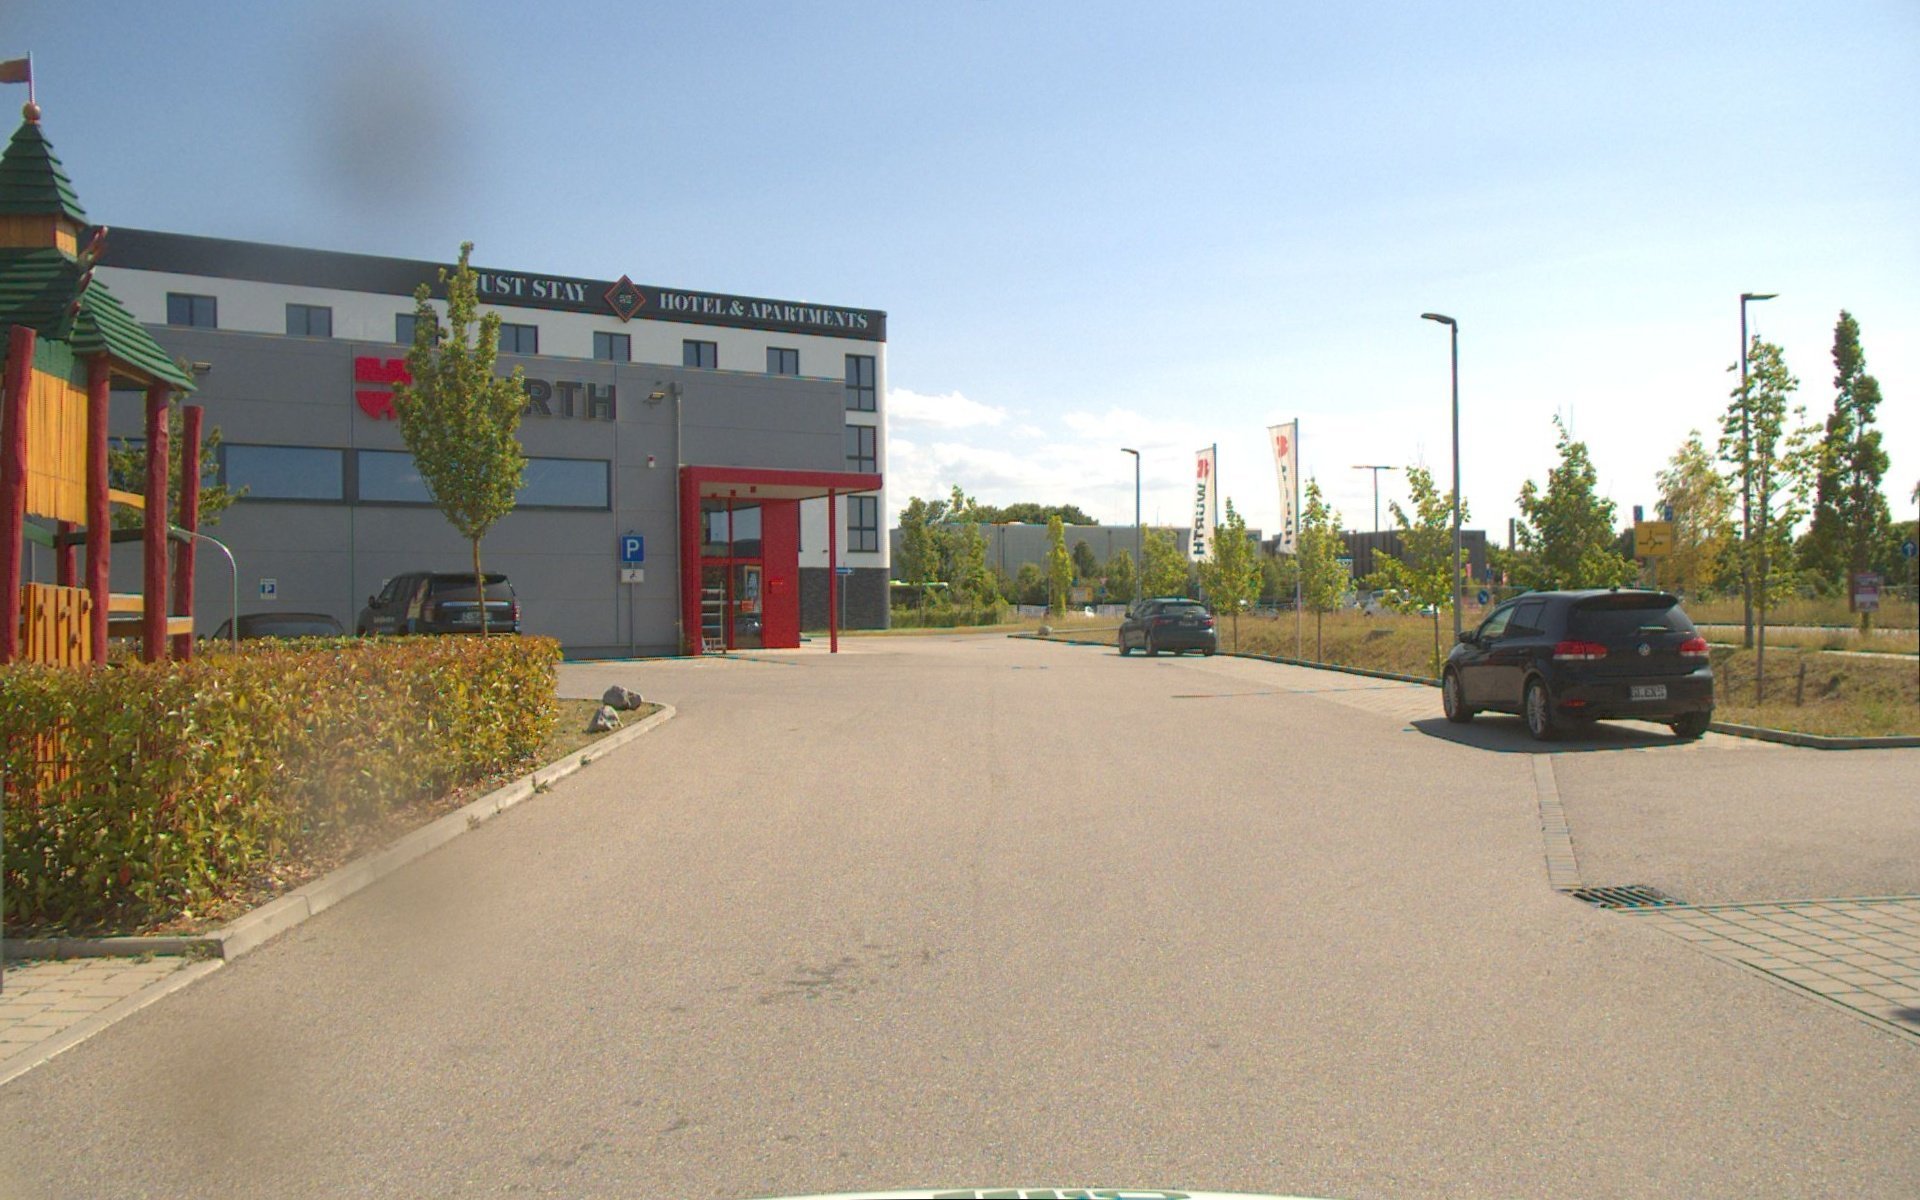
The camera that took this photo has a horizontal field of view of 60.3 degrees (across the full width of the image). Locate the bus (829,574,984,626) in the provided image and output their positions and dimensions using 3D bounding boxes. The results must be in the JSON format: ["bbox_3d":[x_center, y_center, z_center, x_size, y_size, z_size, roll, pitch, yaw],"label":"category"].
[{"bbox_3d":[-3.825,0.016,120.092,10.978,3.619,2.577,-1,0,4],"label":"bus"}]

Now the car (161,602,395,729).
[{"bbox_3d":[-8.736,0.744,20.977,1.847,1.386,4.322,-1,1,-35],"label":"car"}]

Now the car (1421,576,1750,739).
[{"bbox_3d":[6.620,0.545,18.021,1.799,1.502,4.117,-2,0,-3],"label":"car"}]

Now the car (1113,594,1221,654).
[{"bbox_3d":[5.234,0.581,42.258,1.668,1.431,3.887,0,0,-10],"label":"car"}]

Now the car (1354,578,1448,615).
[{"bbox_3d":[18.669,-0.156,70.158,1.847,1.509,3.973,-1,1,-22],"label":"car"}]

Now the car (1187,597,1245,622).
[{"bbox_3d":[14.644,0.528,94.684,1.627,1.410,3.483,-1,1,-26],"label":"car"}]

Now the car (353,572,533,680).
[{"bbox_3d":[-10.082,0.437,31.994,2.053,1.913,4.821,-1,1,-34],"label":"car"}]

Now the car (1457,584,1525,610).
[{"bbox_3d":[29.819,-0.181,92.825,3.662,1.420,1.575,-1,0,-29],"label":"car"}]
